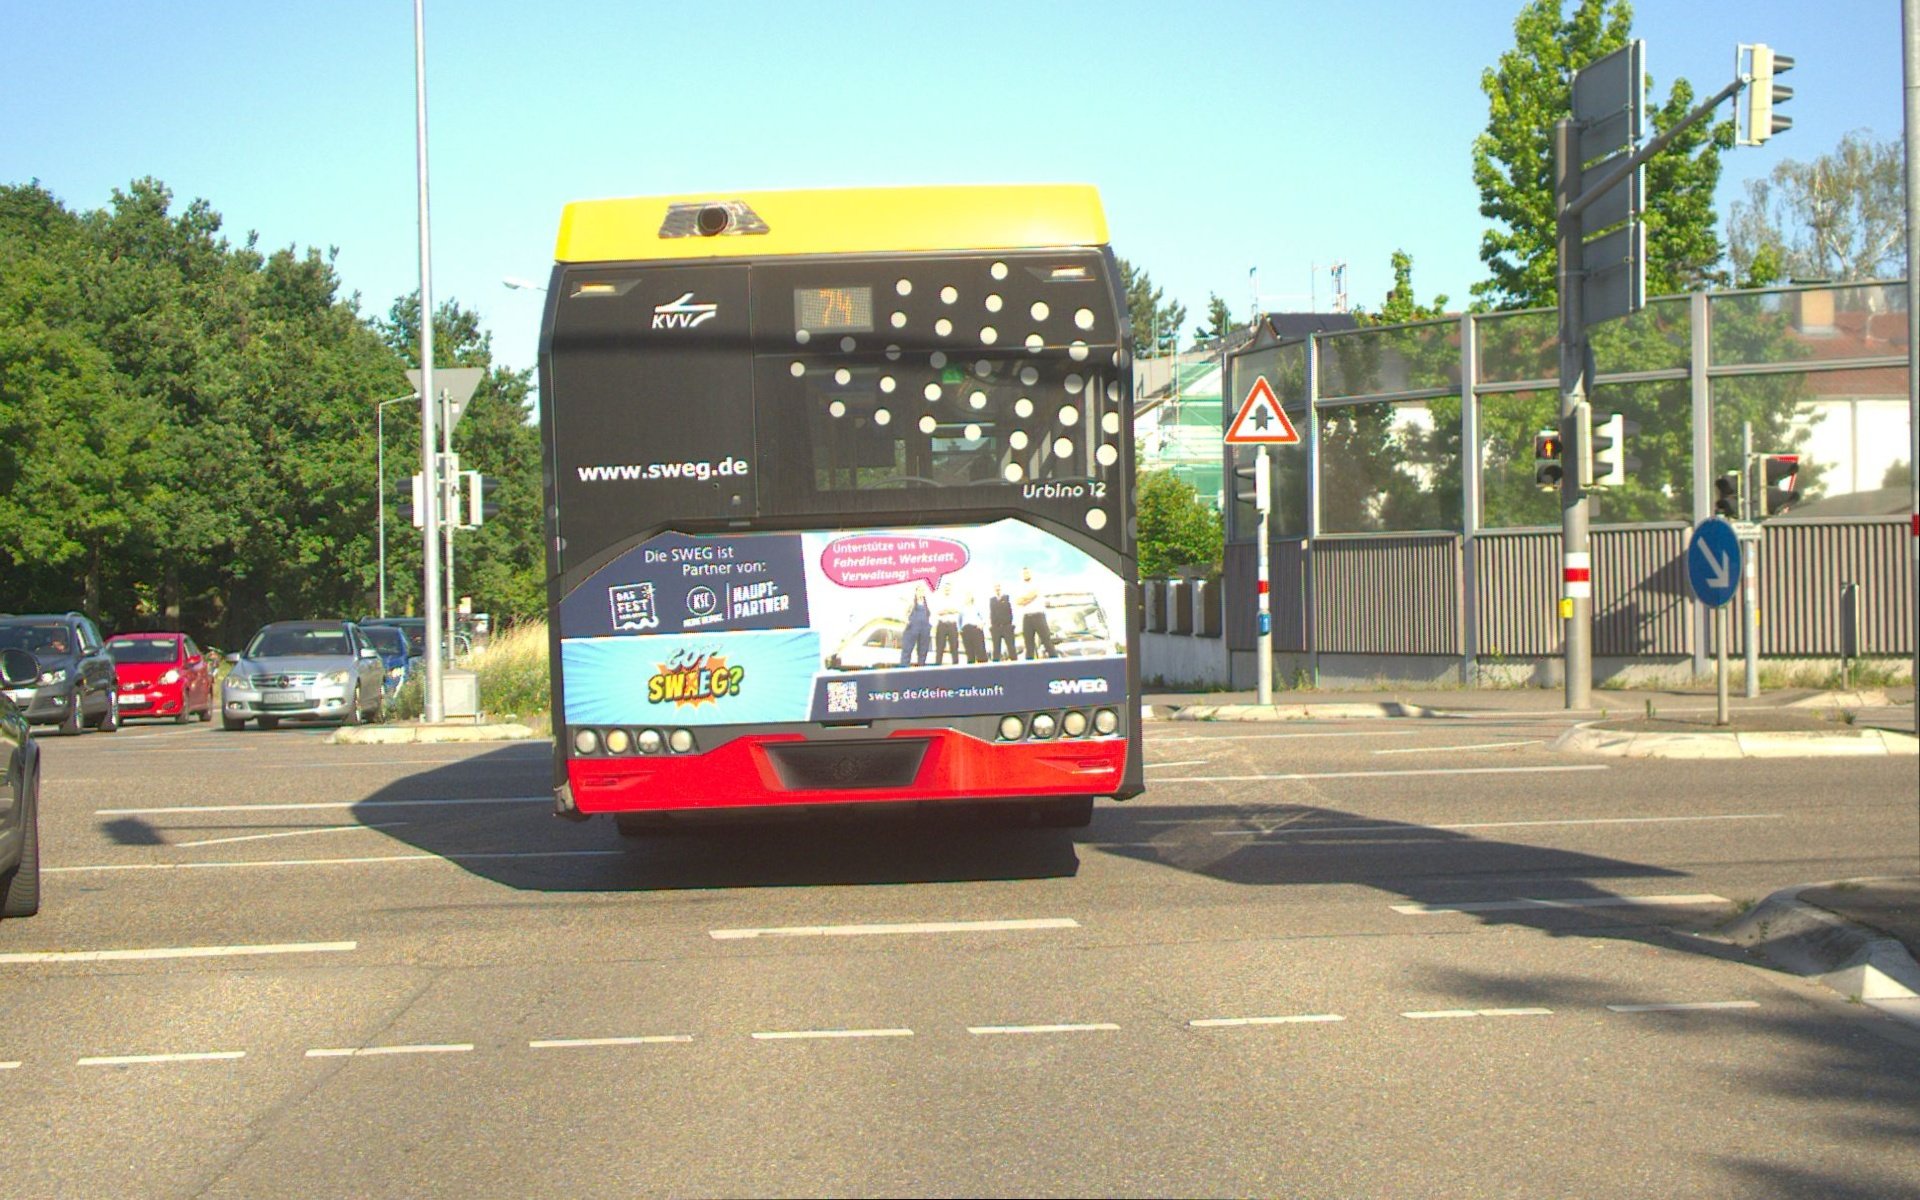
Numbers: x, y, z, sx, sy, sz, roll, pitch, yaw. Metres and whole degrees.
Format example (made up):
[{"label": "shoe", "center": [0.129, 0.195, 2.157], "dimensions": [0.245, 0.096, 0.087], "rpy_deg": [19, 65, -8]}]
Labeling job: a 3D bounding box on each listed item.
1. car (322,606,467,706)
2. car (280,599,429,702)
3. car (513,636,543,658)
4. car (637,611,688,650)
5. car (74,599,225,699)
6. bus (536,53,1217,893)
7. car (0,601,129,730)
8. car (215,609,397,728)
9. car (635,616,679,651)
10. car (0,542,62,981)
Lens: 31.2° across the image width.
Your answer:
[{"label": "car", "center": [-9.699, 0.942, 59.242], "dimensions": [1.993, 1.611, 4.531], "rpy_deg": [-1, 0, -4]}, {"label": "car", "center": [-9.235, 0.758, 52.662], "dimensions": [1.746, 1.478, 3.888], "rpy_deg": [-1, 0, -3]}, {"label": "car", "center": [-30.646, 3.347, 243.904], "dimensions": [1.933, 1.537, 4.001], "rpy_deg": [-1, -1, -10]}, {"label": "car", "center": [-13.293, 1.377, 153.518], "dimensions": [1.935, 1.698, 4.001], "rpy_deg": [-1, -1, -10]}, {"label": "car", "center": [-12.660, 0.746, 53.892], "dimensions": [1.645, 1.478, 3.714], "rpy_deg": [-1, 0, -3]}, {"label": "bus", "center": [-0.622, -0.621, 20.602], "dimensions": [2.757, 3.446, 12.399], "rpy_deg": [-2, 1, -3]}, {"label": "car", "center": [-12.672, 0.866, 46.407], "dimensions": [1.993, 1.638, 4.530], "rpy_deg": [-1, 0, -3]}, {"label": "car", "center": [-8.794, 0.893, 46.535], "dimensions": [1.793, 1.501, 4.530], "rpy_deg": [-1, 0, -3]}, {"label": "car", "center": [-15.511, 1.707, 176.025], "dimensions": [1.933, 1.736, 4.001], "rpy_deg": [-1, -1, -10]}, {"label": "car", "center": [-4.550, 0.601, 13.109], "dimensions": [1.826, 1.622, 4.001], "rpy_deg": [-1, 1, -10]}]
